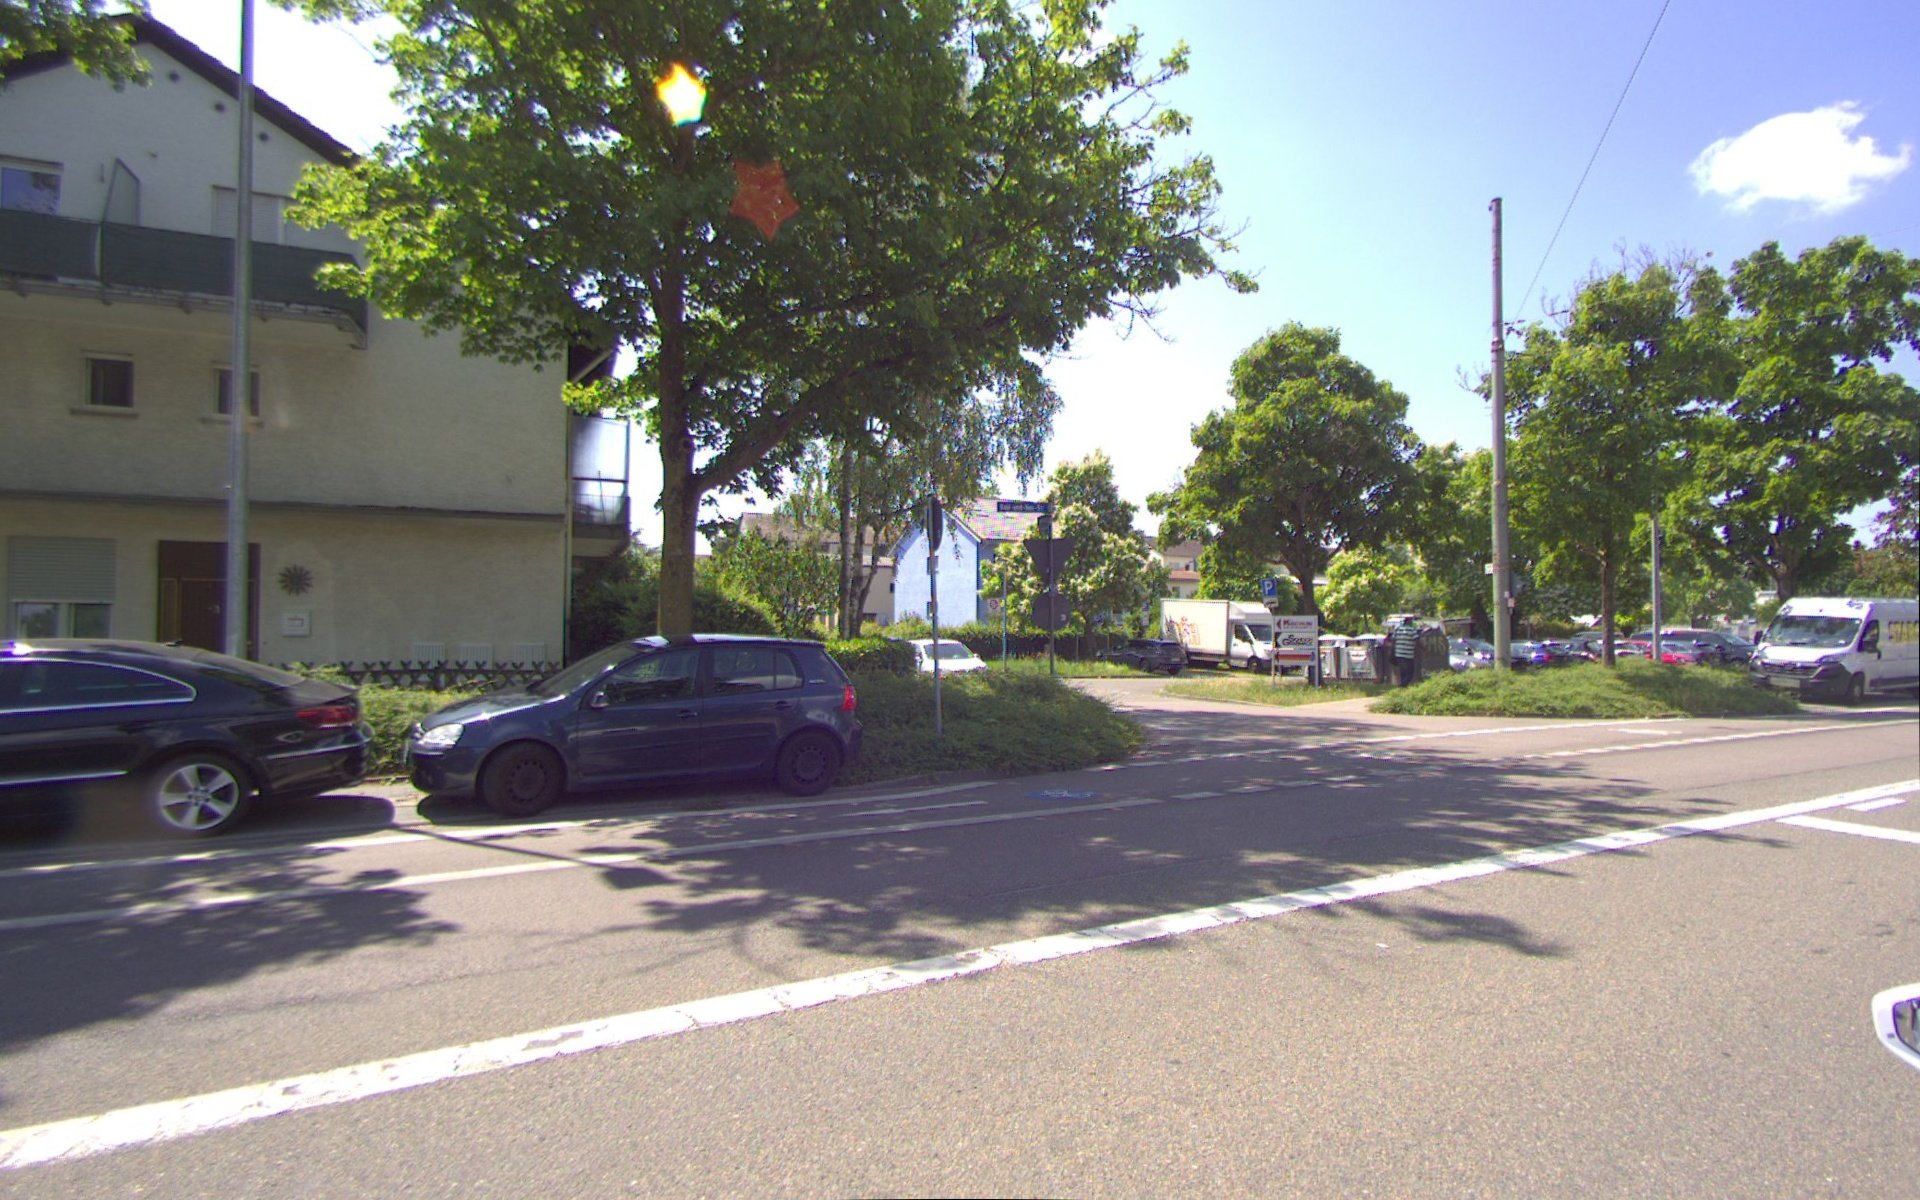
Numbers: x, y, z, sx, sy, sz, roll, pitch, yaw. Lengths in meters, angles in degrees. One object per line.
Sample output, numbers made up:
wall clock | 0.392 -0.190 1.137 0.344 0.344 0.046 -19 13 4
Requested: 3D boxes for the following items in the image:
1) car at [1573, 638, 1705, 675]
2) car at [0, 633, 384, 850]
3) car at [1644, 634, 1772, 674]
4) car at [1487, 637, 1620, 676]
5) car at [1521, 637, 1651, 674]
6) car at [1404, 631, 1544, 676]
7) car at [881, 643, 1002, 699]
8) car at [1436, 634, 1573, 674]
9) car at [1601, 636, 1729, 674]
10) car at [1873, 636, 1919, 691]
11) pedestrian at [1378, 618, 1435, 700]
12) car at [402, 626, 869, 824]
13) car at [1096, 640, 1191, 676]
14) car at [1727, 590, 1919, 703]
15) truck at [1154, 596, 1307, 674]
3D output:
car | 26.971 2.216 40.024 1.784 1.357 3.967 1 -2 -31
car | -7.011 0.980 7.497 4.645 1.391 1.765 1 0 -32
car | 31.609 2.248 42.543 1.784 1.627 3.967 1 -2 -31
car | 22.281 2.078 37.850 1.784 1.357 3.967 1 -2 -31
car | 24.438 2.142 39.330 1.784 1.357 3.967 1 -2 -31
car | 17.536 1.791 34.431 1.784 1.461 3.967 1 -2 -31
car | -0.588 1.893 27.529 1.787 1.376 3.973 1 -2 -27
car | 19.415 1.891 35.974 1.784 1.357 3.967 1 -2 -31
car | 29.044 2.227 41.513 1.784 1.461 3.968 1 -2 -30
car | 27.560 1.743 28.045 4.291 1.456 1.860 1 -2 -30
pedestrian | 10.356 1.355 23.301 0.789 1.847 0.965 2 -2 -45
car | -3.063 1.036 9.684 4.001 1.500 1.766 1 0 -31
car | 7.684 2.411 42.321 1.753 1.417 3.966 1 -2 -31
car | 22.018 1.098 25.102 6.116 2.520 2.148 1 1 -29
truck | 12.220 1.587 46.052 2.307 3.270 7.148 1 -2 -32
